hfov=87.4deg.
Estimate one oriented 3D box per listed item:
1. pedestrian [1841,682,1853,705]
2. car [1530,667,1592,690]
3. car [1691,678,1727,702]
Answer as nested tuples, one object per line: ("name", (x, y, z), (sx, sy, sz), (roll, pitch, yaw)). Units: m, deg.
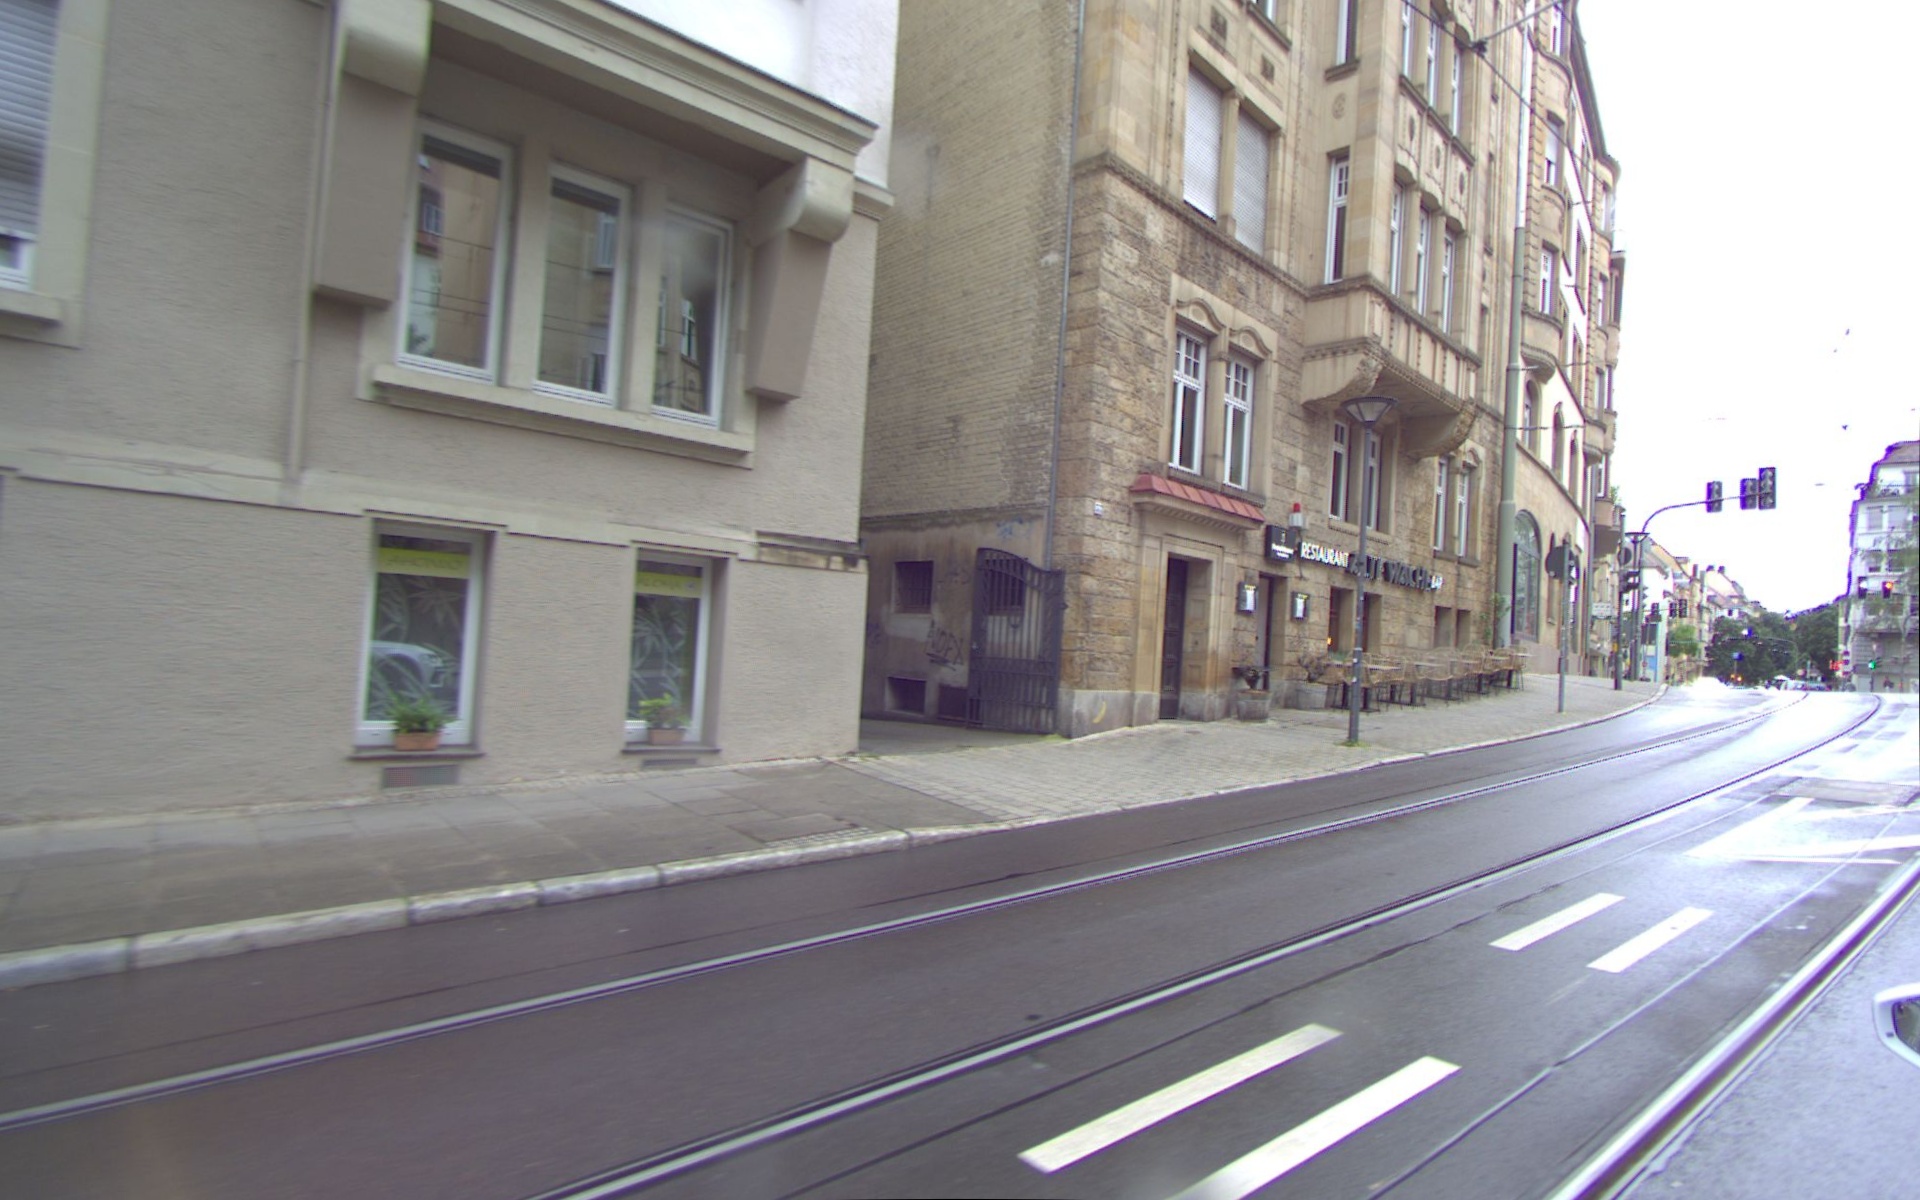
("pedestrian", (68.309, 7.226, 77.335), (0.641, 1.683, 0.647), (1, 0, 42))
("car", (45.258, 5.897, 75.636), (3.934, 1.530, 1.794), (0, -1, 35))
("car", (57.839, 6.936, 77.628), (1.769, 1.530, 4.655), (-1, -2, 32))
